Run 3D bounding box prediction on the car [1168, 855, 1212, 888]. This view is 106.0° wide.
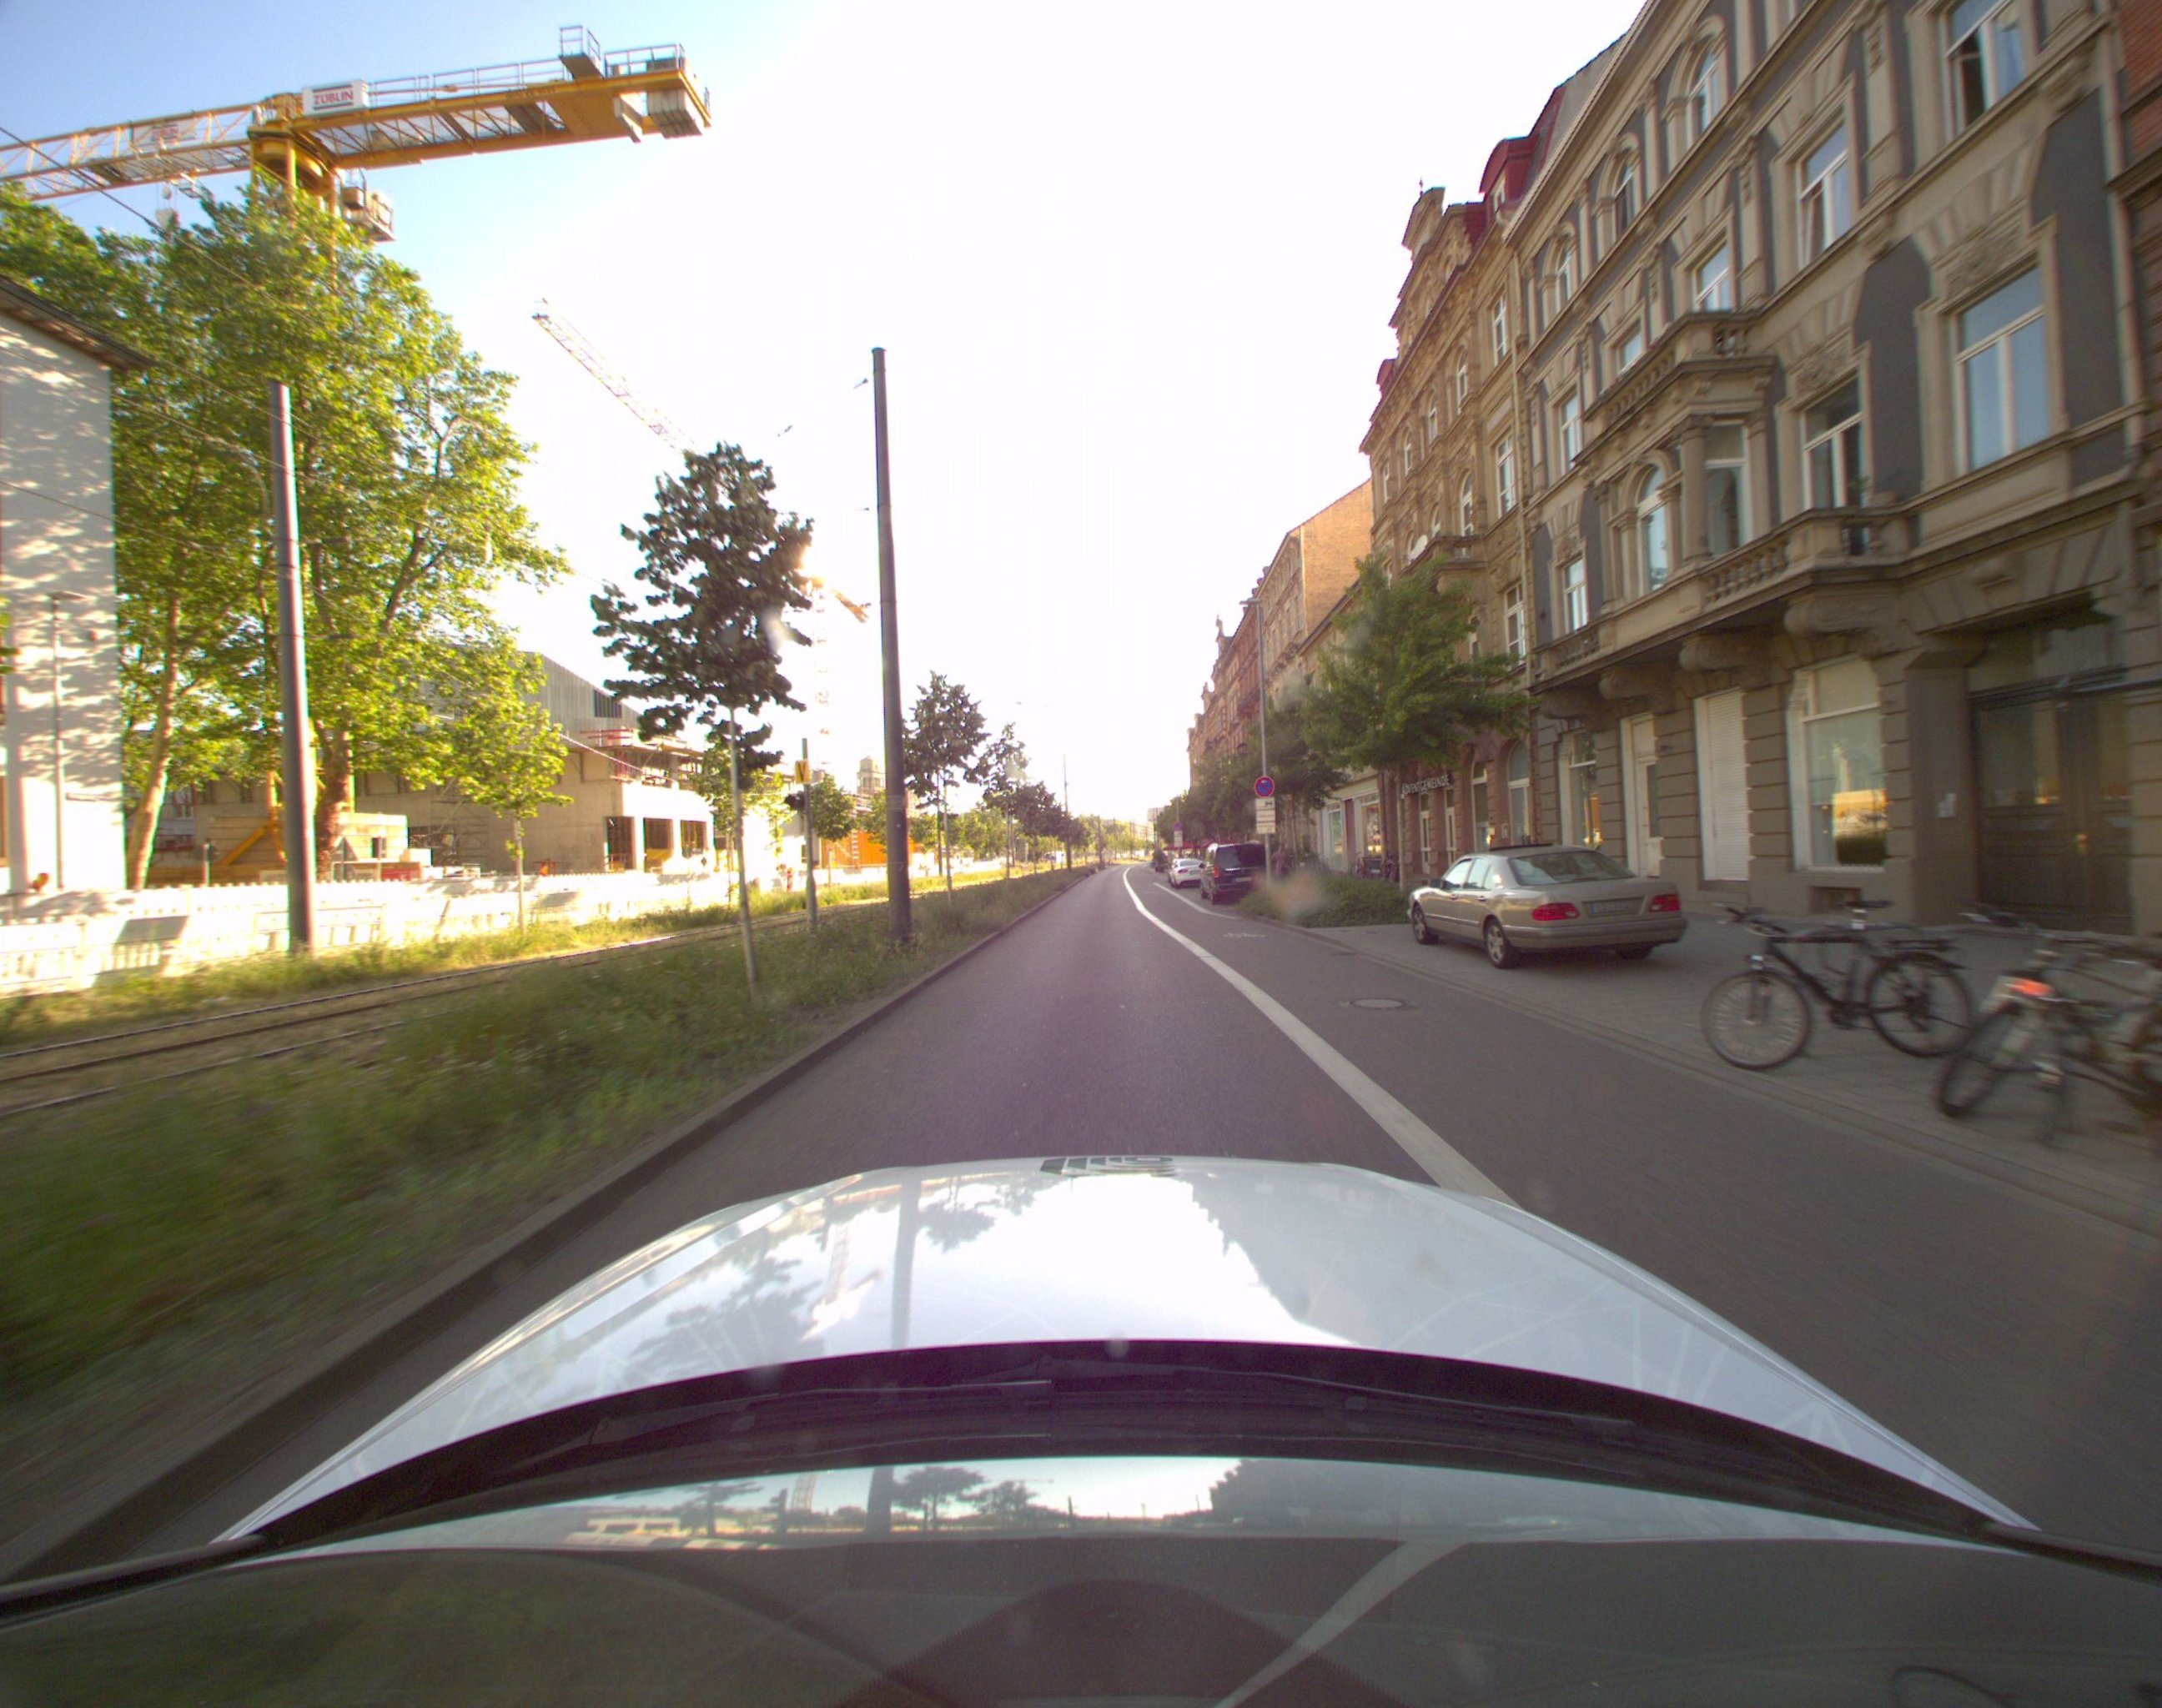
[{"bbox_3d":[5.413,0.836,40.901,1.841,1.457,4.161,-2,0,4],"label":"car"}]

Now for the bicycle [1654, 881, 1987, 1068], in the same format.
[{"bbox_3d":[4.951,0.790,5.516,1.685,1.048,0.490,-6,-1,2],"label":"bicycle"}]

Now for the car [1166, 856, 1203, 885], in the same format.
[{"bbox_3d":[5.881,0.919,46.606,1.841,1.457,4.161,-2,0,4],"label":"car"}]

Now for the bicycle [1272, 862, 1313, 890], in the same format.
[{"bbox_3d":[8.944,0.919,34.635,1.077,1.084,2.771,-2,0,2],"label":"bicycle"}]

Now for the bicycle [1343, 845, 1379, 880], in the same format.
[{"bbox_3d":[11.565,0.332,33.716,0.658,1.402,2.353,-2,0,2],"label":"bicycle"}]

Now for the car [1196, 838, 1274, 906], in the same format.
[{"bbox_3d":[5.086,0.531,27.490,1.877,1.937,4.478,-6,0,4],"label":"car"}]

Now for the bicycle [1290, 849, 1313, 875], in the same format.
[{"bbox_3d":[12.197,0.431,45.089,0.658,1.402,2.353,-2,0,2],"label":"bicycle"}]

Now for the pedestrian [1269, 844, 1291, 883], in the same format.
[{"bbox_3d":[7.599,0.364,31.111,0.623,1.460,0.638,-2,-1,2],"label":"pedestrian"}]

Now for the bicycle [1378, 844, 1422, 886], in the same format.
[{"bbox_3d":[11.428,0.370,29.253,0.658,1.402,2.353,-2,0,2],"label":"bicycle"}]

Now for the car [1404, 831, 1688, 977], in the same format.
[{"bbox_3d":[5.910,0.530,11.007,1.629,1.486,4.217,-4,0,5],"label":"car"}]

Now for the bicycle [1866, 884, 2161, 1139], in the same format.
[{"bbox_3d":[5.077,0.748,4.083,1.685,1.048,0.490,-5,-1,2],"label":"bicycle"}]
